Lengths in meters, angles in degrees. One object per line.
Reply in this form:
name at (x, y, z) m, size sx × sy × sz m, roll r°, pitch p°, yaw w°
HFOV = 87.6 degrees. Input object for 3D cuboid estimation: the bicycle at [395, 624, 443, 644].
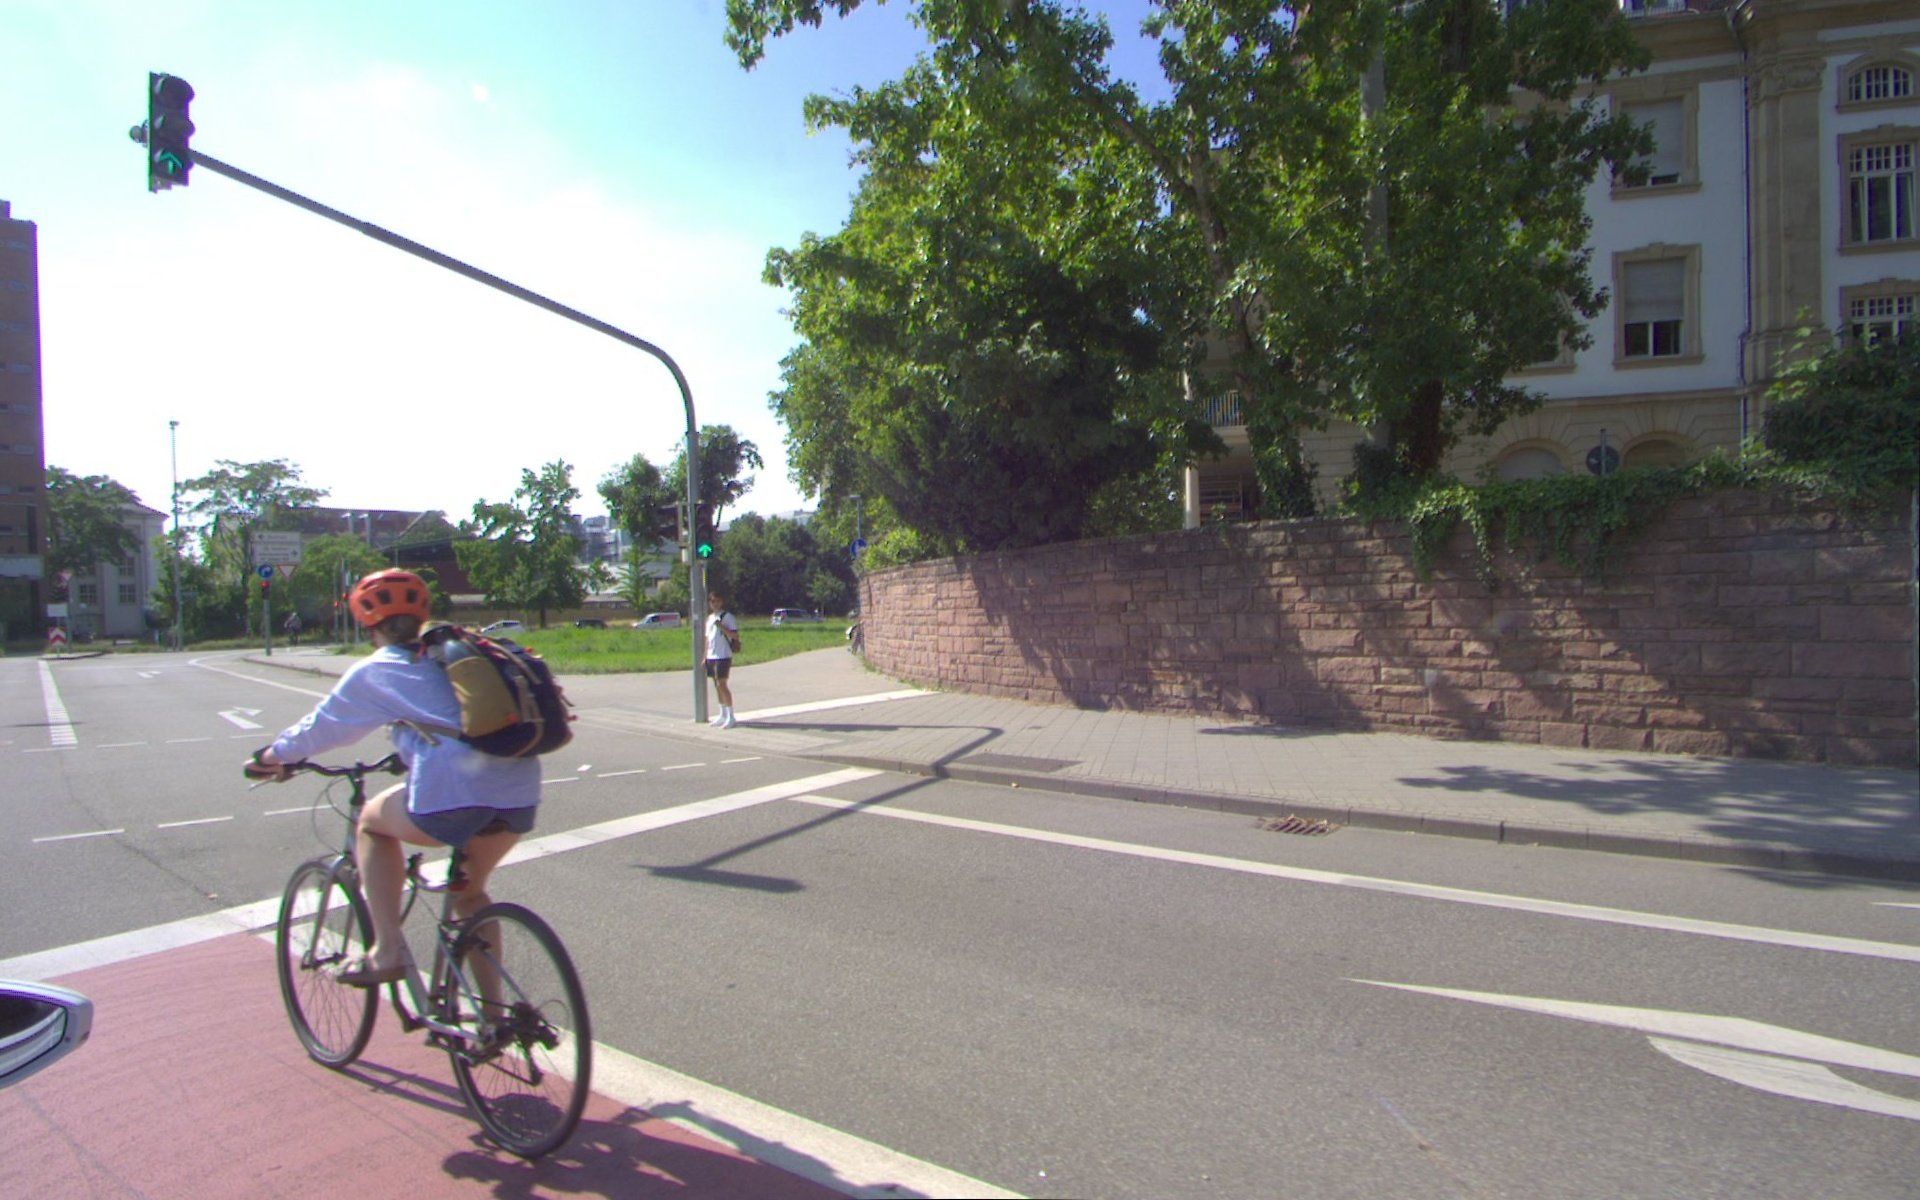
bicycle at (-28.069, 1.762, 51.941) m, size 2.127 × 0.928 × 0.674 m, roll -1°, pitch 1°, yaw 4°

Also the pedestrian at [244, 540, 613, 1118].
pedestrian at (-1.644, 0.603, 3.090) m, size 0.999 × 1.485 × 0.582 m, roll -1°, pitch -1°, yaw 32°

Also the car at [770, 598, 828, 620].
car at (-11.868, 0.672, 73.953) m, size 3.958 × 1.528 × 1.736 m, roll -2°, pitch 1°, yaw -43°

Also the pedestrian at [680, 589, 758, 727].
pedestrian at (-3.438, 0.805, 14.301) m, size 0.784 × 1.900 × 0.650 m, roll -1°, pitch 2°, yaw 29°

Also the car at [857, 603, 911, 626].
car at (-5.889, 1.121, 78.332) m, size 3.963 × 1.526 × 1.736 m, roll 6°, pitch -4°, yaw -43°

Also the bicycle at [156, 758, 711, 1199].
bicycle at (-1.707, 1.060, 3.103) m, size 1.999 × 0.943 × 0.595 m, roll -1°, pitch -1°, yaw 32°

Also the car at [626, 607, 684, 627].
car at (-25.556, 1.409, 84.067) m, size 4.280 × 1.590 × 1.892 m, roll -1°, pitch 0°, yaw -43°

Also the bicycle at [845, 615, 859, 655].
bicycle at (-3.200, 1.022, 29.617) m, size 0.342 × 1.138 × 1.434 m, roll -1°, pitch 1°, yaw -8°

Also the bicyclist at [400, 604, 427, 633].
bicyclist at (-28.327, 0.963, 51.912) m, size 1.120 × 1.489 × 0.496 m, roll 0°, pitch -1°, yaw 4°

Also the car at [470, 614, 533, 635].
car at (-34.850, 1.854, 76.179) m, size 3.959 × 1.483 × 1.982 m, roll -1°, pitch -1°, yaw -43°

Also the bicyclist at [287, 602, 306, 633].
bicyclist at (-36.109, 0.942, 54.512) m, size 0.673 × 1.677 × 0.910 m, roll -2°, pitch 1°, yaw -43°

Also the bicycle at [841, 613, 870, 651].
bicycle at (-3.243, 0.985, 31.136) m, size 0.344 × 1.138 × 1.428 m, roll -2°, pitch 1°, yaw -29°

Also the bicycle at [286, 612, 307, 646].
bicycle at (-36.209, 1.581, 54.638) m, size 0.673 × 1.789 × 1.794 m, roll -2°, pitch 1°, yaw -43°
